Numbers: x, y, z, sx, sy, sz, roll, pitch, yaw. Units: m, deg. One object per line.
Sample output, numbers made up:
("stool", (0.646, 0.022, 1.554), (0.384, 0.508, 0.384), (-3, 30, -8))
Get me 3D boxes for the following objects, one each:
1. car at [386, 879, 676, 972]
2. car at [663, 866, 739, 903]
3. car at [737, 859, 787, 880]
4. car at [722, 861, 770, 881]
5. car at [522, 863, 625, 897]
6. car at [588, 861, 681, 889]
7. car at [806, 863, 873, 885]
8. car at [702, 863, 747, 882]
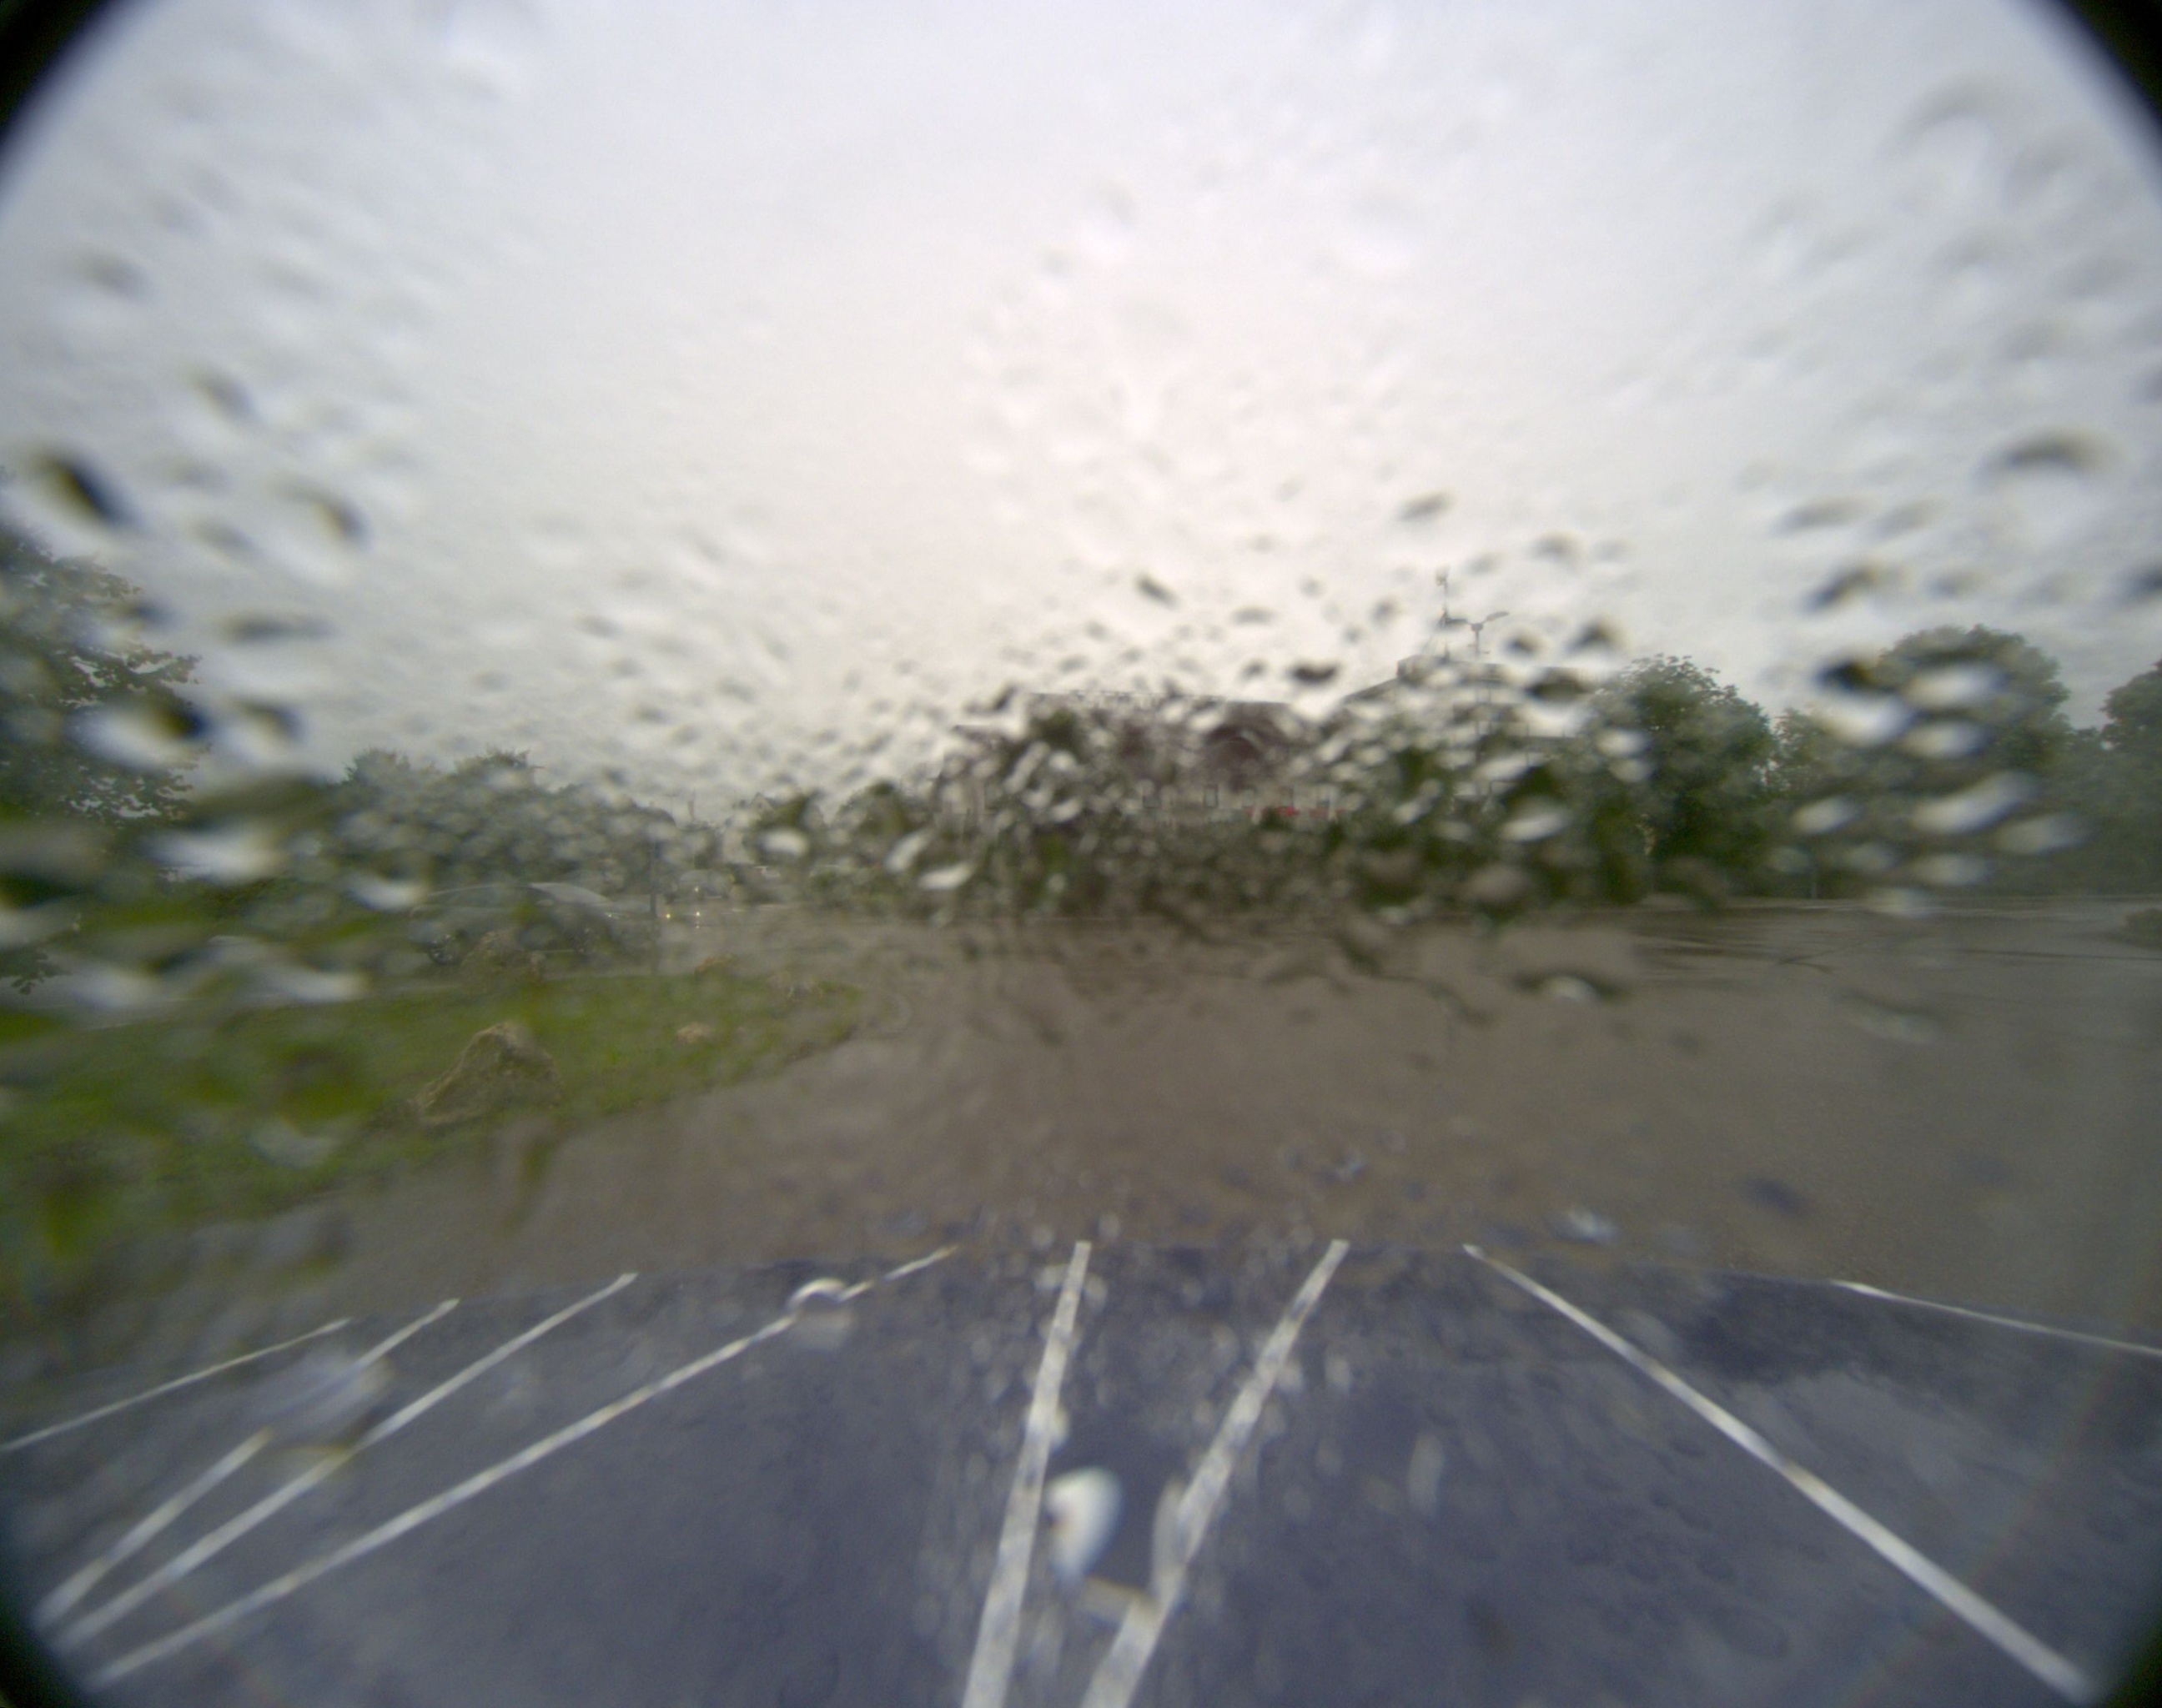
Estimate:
("car", (-11.429, 1.442, 16.133), (4.499, 1.565, 1.998), (-2, 1, -8))
("car", (-17.763, 1.384, 35.750), (1.706, 1.417, 4.357), (-3, 1, -6))
("car", (-29.128, 1.384, 69.345), (3.990, 1.718, 1.993), (-2, 0, 26))
("car", (-29.609, 1.524, 67.137), (3.879, 1.561, 1.752), (-2, 0, 27))
("car", (-30.053, 1.529, 45.177), (4.611, 1.712, 1.998), (-3, 0, -13))
("car", (-32.127, 1.512, 54.807), (5.379, 1.712, 1.998), (-3, 0, -13))
("car", (-17.072, 1.402, 53.948), (4.362, 1.416, 1.848), (-2, 0, -15))
("car", (-30.744, 1.593, 65.509), (3.716, 1.540, 1.669), (-2, 0, 32))
